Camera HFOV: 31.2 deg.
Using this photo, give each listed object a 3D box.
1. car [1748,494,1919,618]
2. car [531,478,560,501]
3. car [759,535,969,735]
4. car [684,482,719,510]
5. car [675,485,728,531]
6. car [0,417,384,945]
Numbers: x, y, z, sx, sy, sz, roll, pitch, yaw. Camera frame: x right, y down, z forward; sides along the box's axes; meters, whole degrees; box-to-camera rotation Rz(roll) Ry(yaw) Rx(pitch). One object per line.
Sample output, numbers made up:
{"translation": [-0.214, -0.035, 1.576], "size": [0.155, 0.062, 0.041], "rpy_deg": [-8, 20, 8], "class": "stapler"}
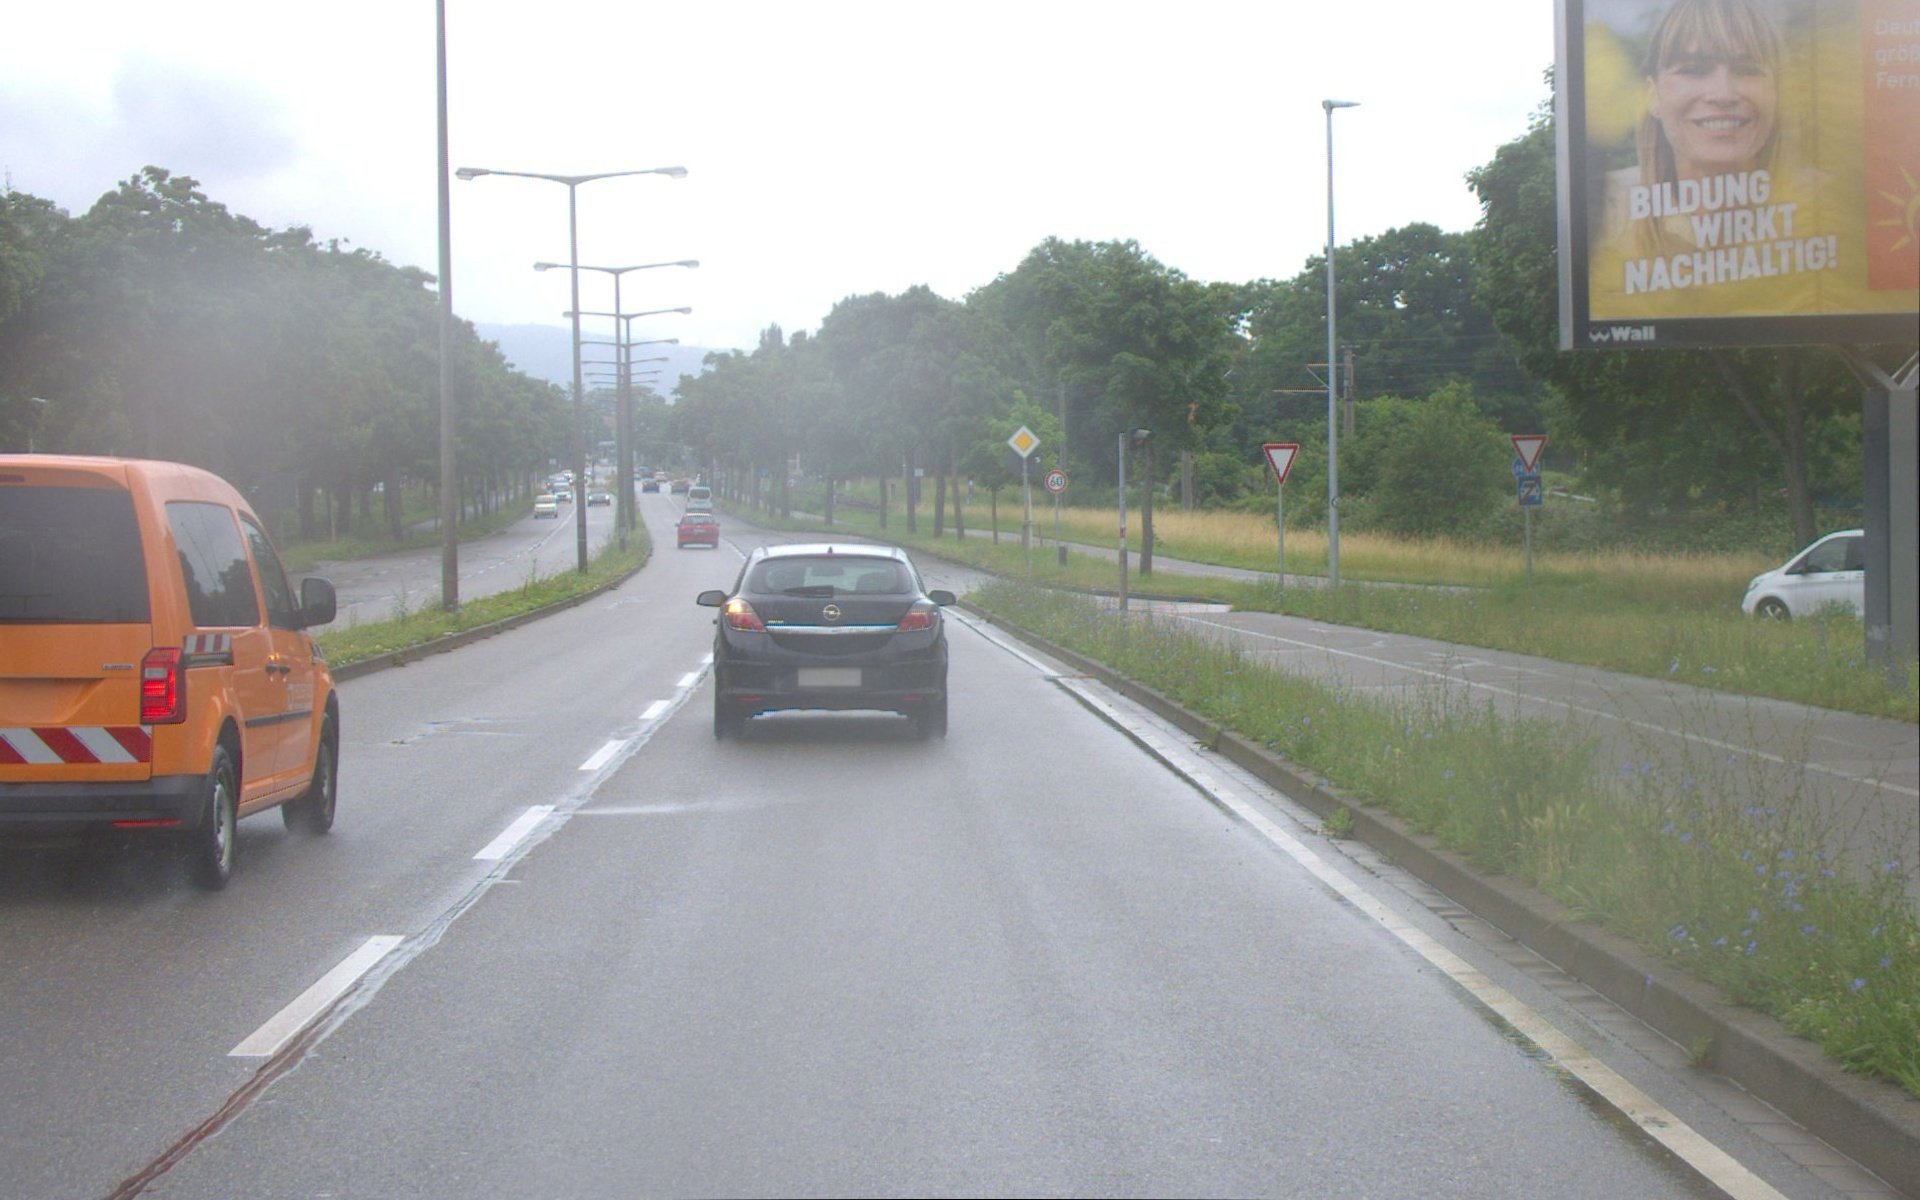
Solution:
{"translation": [15.343, -0.724, 55.891], "size": [2.060, 1.968, 4.607], "rpy_deg": [-1, 2, -41], "class": "car"}
{"translation": [-28.562, -7.608, 236.998], "size": [1.683, 1.548, 4.001], "rpy_deg": [1, 2, -2], "class": "car"}
{"translation": [-0.724, 0.212, 25.917], "size": [1.463, 1.324, 3.758], "rpy_deg": [0, 2, -2], "class": "car"}
{"translation": [-19.442, -7.824, 258.310], "size": [2.515, 2.045, 5.294], "rpy_deg": [-1, 1, -5], "class": "car"}
{"translation": [-10.620, -3.773, 141.525], "size": [1.993, 1.873, 4.001], "rpy_deg": [0, 1, -1], "class": "car"}
{"translation": [-3.860, 0.248, 15.562], "size": [1.734, 2.012, 4.850], "rpy_deg": [0, 1, -1], "class": "car"}
